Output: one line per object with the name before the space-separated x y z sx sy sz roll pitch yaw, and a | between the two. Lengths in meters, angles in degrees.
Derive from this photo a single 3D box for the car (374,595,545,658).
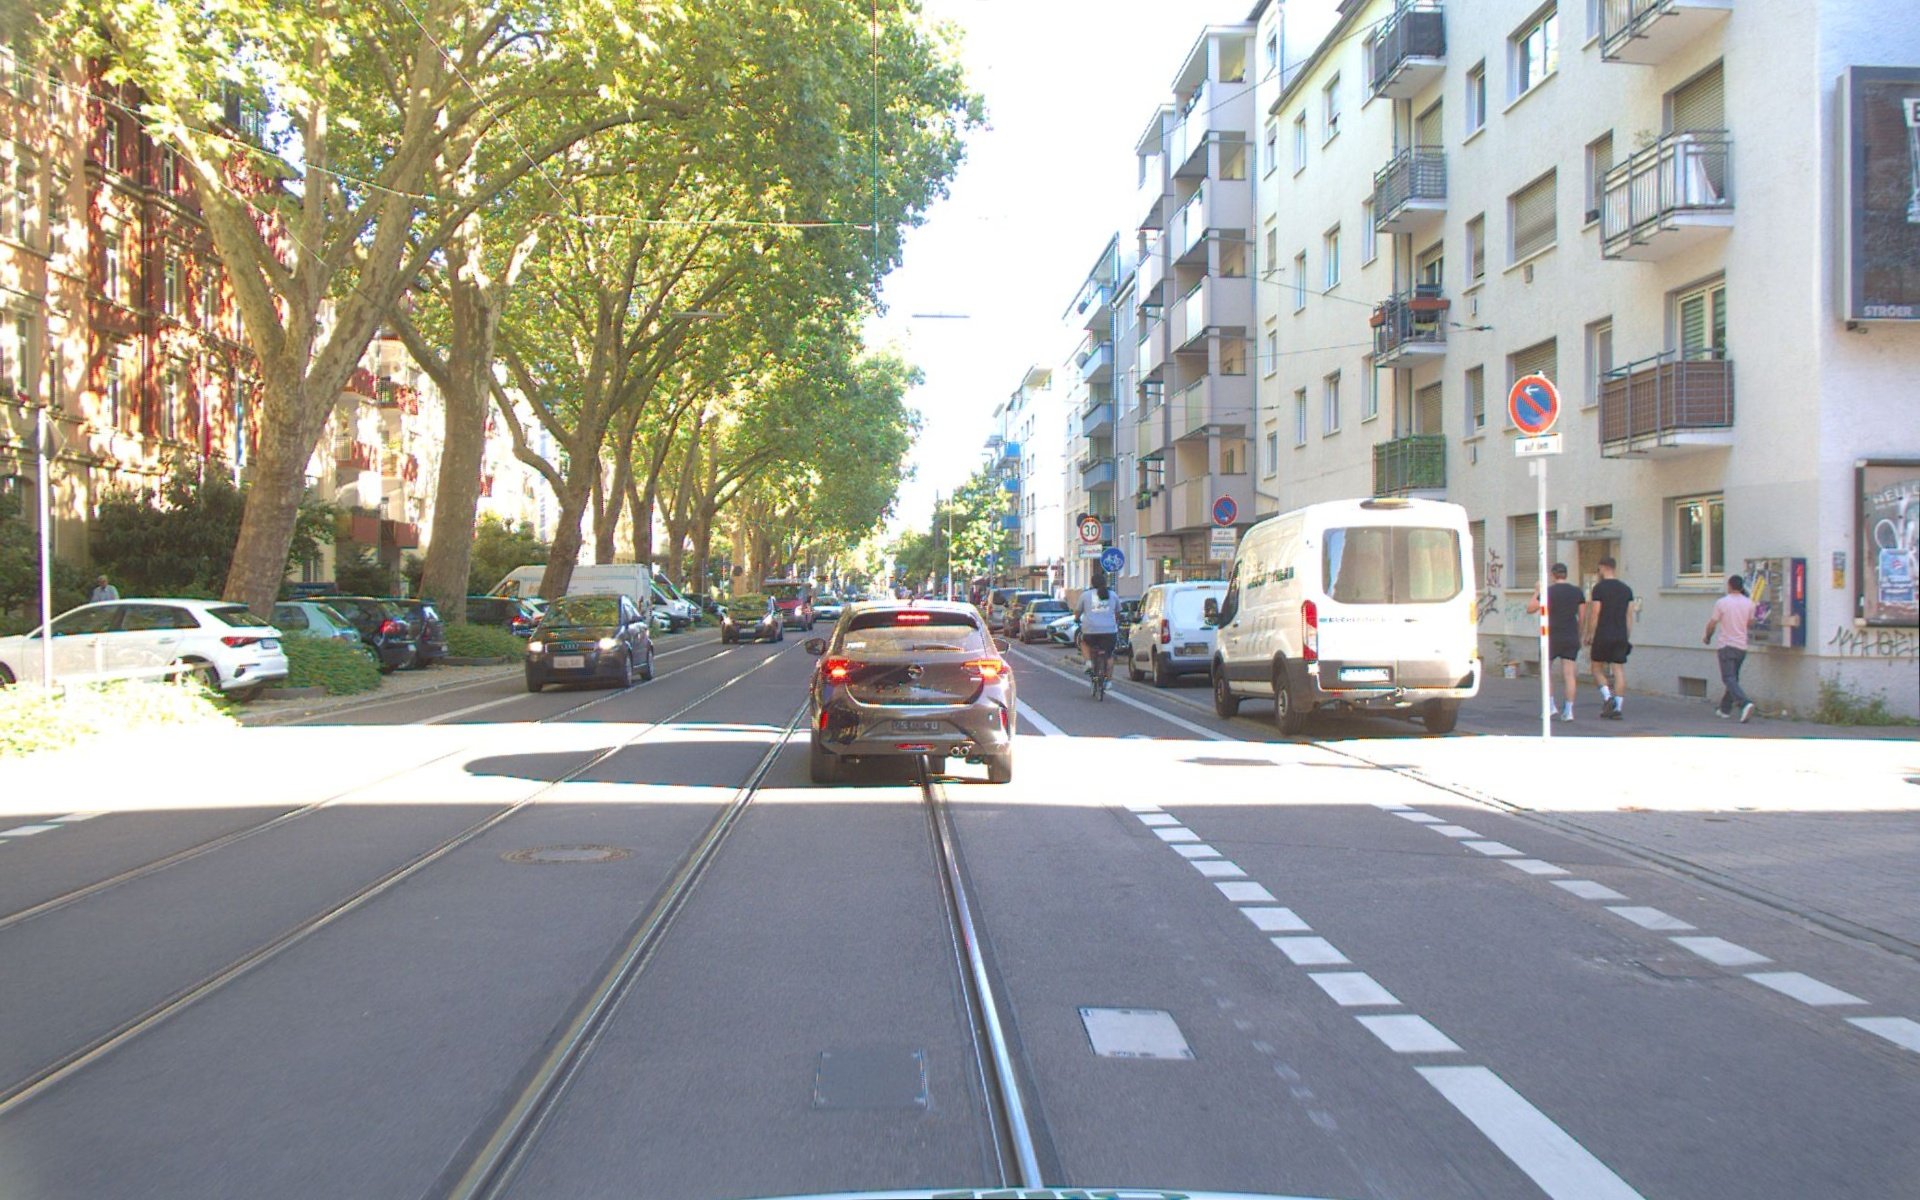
car | -12.351 0.646 41.008 3.717 1.486 1.704 1 0 -2

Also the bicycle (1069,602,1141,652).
bicycle | 3.761 0.687 42.888 1.787 1.212 0.457 -2 0 -3

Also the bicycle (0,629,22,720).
bicycle | -12.117 0.882 19.832 1.765 1.061 0.597 0 0 25

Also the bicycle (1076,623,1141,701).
bicycle | 2.264 0.928 25.438 0.687 1.111 1.989 2 -1 -3

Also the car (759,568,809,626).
car | -7.138 -0.116 67.432 1.879 2.266 4.956 0 0 -4

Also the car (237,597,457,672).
car | -12.668 0.700 34.334 3.906 1.486 1.704 0 0 -1

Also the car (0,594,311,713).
car | -11.117 0.714 22.419 3.908 1.486 1.877 -1 -1 -4

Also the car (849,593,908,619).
car | -5.386 0.372 109.537 3.907 1.680 1.863 0 0 -3

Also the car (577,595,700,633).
car | -12.131 0.515 62.649 4.322 1.409 1.932 0 0 -3

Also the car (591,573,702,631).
car | -14.432 0.090 76.425 4.848 2.612 2.080 0 0 -6

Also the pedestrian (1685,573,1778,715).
pedestrian | 9.020 0.510 19.358 0.619 1.608 0.933 2 -1 -1

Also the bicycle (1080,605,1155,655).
bicycle | 3.918 0.740 41.252 1.758 1.168 0.704 -2 0 -3

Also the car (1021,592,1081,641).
car | 3.001 0.527 55.345 1.689 1.552 4.511 0 0 -1

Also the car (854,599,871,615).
car | -10.778 0.773 182.566 1.714 1.680 3.999 0 0 -1

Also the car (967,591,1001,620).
car | 1.365 0.305 95.579 1.821 1.680 3.999 0 0 -1

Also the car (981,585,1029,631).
car | 1.871 0.320 70.682 1.821 1.923 4.923 0 0 -1

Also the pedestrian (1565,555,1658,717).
pedestrian | 7.746 0.419 19.697 0.612 1.854 1.081 -1 -1 -1

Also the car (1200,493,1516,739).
car | 4.569 0.166 20.184 2.106 2.539 6.084 0 0 -3

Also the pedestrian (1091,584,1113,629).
pedestrian | 5.592 0.252 65.301 0.741 1.750 0.719 0 0 -4

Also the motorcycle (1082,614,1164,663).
motorcycle | 3.784 0.887 38.450 1.781 1.099 0.617 -1 0 21

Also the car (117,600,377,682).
car | -12.587 0.704 29.348 3.906 1.393 1.605 0 0 -1

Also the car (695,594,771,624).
car | -12.011 0.483 87.719 3.908 1.548 1.770 0 0 -4

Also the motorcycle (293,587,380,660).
motorcycle | -14.907 0.560 39.669 1.031 1.660 3.010 2 -1 -3

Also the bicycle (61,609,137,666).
bicycle | -17.995 0.769 34.596 0.727 1.158 1.779 0 0 -3

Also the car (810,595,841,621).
car | -7.378 0.424 90.926 1.684 1.382 4.466 0 0 -4

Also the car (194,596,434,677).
car | -12.393 0.681 31.893 3.906 1.486 1.770 0 0 -1

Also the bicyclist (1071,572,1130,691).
bicyclist | 2.142 0.473 25.290 0.771 1.790 0.914 0 0 -3

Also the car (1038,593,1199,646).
car | 4.841 0.572 50.625 4.535 1.462 1.858 -2 0 -14

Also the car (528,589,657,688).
car | -6.108 0.607 27.808 1.603 1.536 3.688 0 0 -4

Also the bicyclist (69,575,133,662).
bicyclist | -17.961 0.384 34.611 0.814 1.794 1.047 0 0 -3

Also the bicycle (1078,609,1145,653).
bicycle | 3.839 0.794 41.903 1.620 1.038 0.457 -2 0 -3

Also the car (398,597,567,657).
car | -12.503 0.684 43.479 3.907 1.522 1.829 0 0 -2

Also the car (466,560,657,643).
car | -12.716 0.035 53.105 5.625 2.580 2.161 0 0 -3

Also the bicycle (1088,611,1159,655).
bicycle | 3.942 0.796 39.959 1.620 1.004 0.457 -2 0 -3

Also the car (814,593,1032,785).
car | -0.377 0.690 14.570 1.646 1.447 3.625 1 0 -3

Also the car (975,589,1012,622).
car | 1.768 0.270 87.996 1.821 1.680 3.999 0 0 -1

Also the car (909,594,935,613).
car | -3.342 0.276 144.578 1.955 1.668 3.994 0 0 -7

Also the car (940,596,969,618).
car | -0.402 0.505 120.156 1.685 1.601 4.079 0 0 -7

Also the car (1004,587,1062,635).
car | 2.704 0.383 61.966 1.732 1.734 4.280 0 0 -4

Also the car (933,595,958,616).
car | -1.100 0.397 125.813 1.684 1.516 3.678 0 0 -4

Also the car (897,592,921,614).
car | -3.920 0.237 128.289 1.821 1.680 3.999 0 0 -1

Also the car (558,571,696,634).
car | -13.543 0.089 67.548 5.253 2.521 2.056 0 0 -3

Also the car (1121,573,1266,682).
car | 4.204 0.465 30.476 1.821 1.852 4.348 0 0 -3

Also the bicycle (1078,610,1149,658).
bicycle | 3.653 0.814 39.412 1.620 1.073 0.457 -2 0 -3

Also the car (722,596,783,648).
car | -6.433 0.654 51.485 1.684 1.536 3.719 0 0 -4

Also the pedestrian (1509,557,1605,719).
pedestrian | 7.088 0.442 19.688 0.695 1.854 1.081 -1 -1 -1
